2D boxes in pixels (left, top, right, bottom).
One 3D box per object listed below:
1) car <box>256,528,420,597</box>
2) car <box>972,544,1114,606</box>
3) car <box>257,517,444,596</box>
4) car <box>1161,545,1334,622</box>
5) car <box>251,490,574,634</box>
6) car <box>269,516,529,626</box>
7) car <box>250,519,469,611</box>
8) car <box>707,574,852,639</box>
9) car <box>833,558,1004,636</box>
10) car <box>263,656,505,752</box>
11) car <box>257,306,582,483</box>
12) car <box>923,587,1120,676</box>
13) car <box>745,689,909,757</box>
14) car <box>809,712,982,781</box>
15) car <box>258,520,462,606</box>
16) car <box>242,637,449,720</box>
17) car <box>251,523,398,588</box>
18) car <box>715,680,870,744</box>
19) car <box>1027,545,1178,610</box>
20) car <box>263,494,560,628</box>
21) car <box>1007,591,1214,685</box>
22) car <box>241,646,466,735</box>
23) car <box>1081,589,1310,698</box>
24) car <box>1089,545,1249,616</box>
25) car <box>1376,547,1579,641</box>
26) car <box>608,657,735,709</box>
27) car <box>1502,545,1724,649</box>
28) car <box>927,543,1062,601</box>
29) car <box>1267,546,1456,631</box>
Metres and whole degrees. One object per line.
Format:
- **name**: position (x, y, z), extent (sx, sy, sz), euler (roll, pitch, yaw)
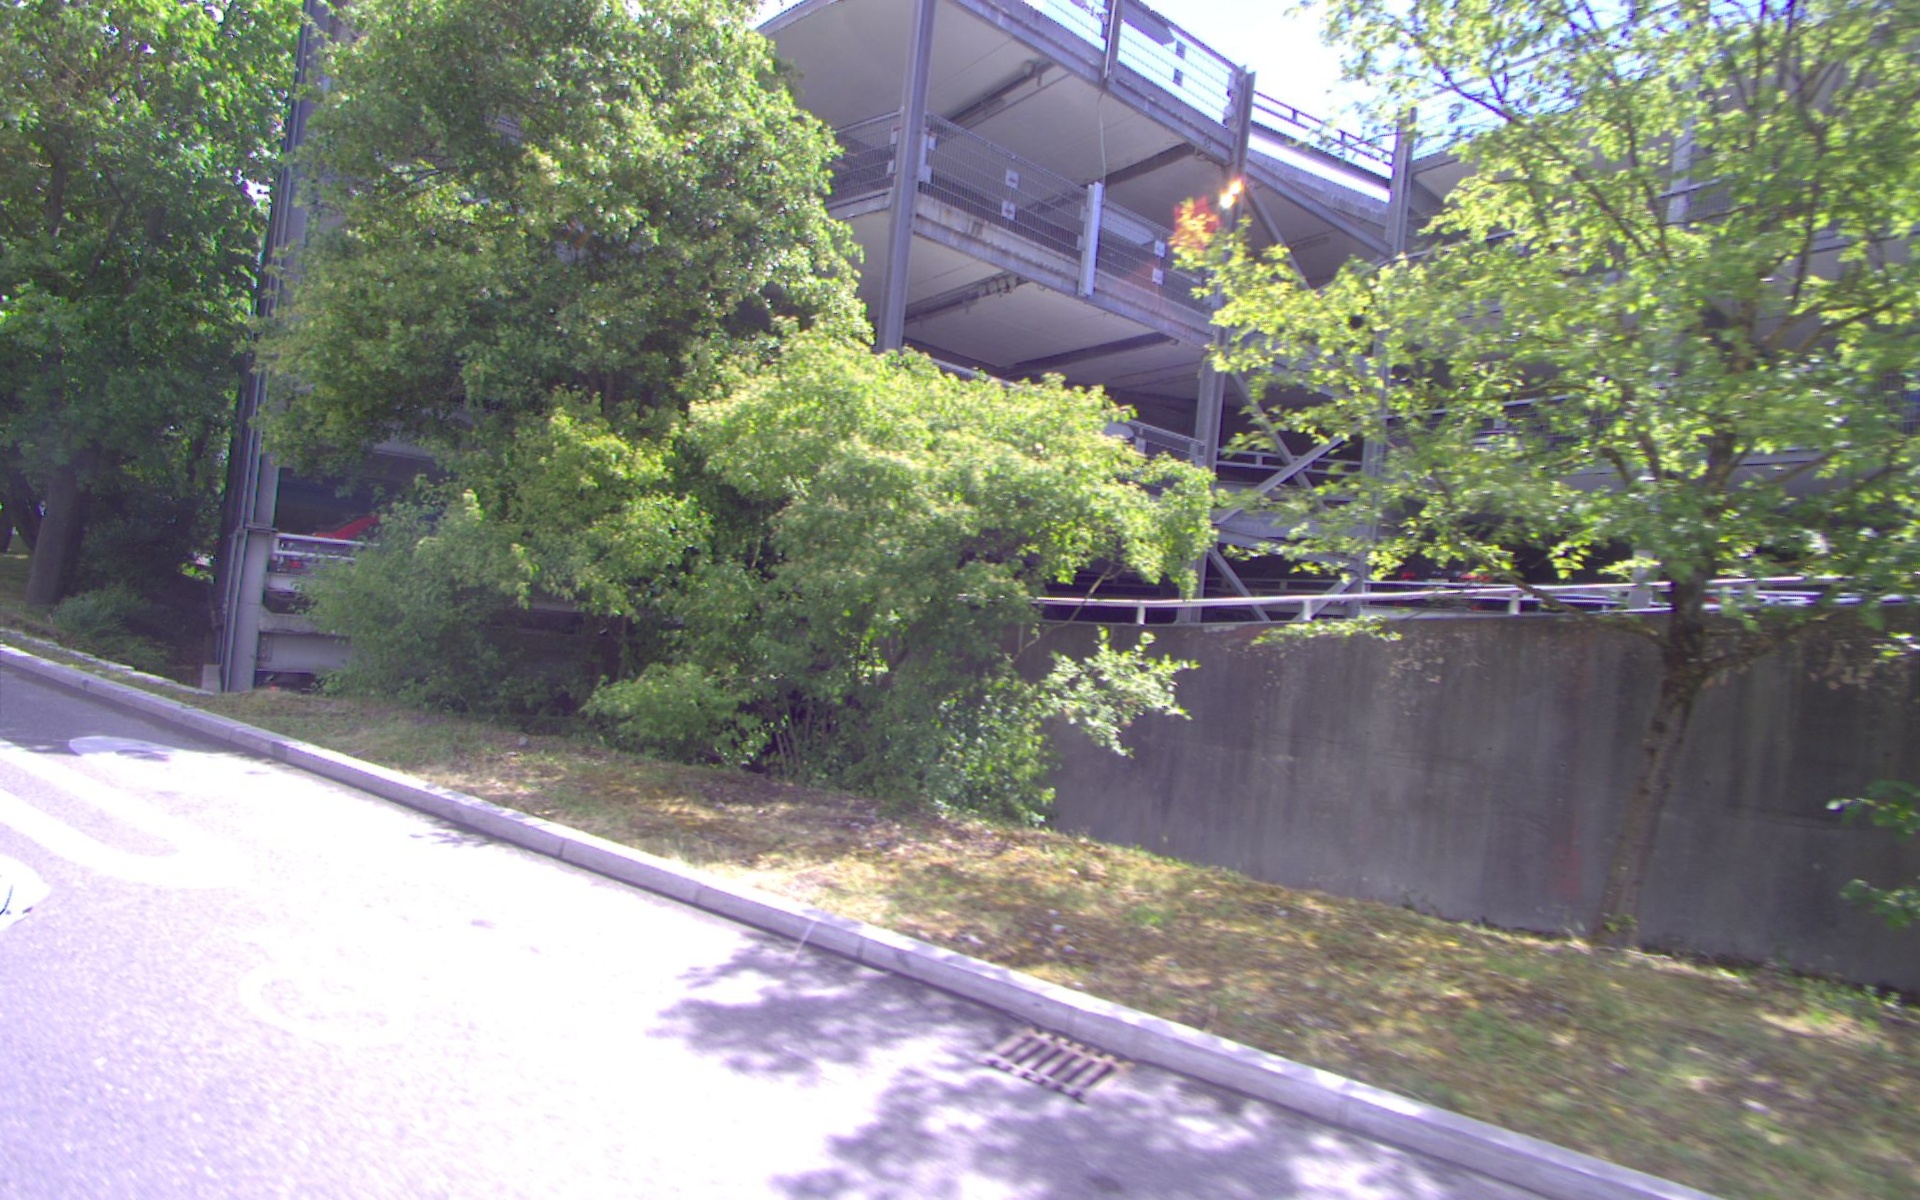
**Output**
- **car**: position (-17.970, -1.066, 29.134), extent (3.826, 1.408, 1.678), euler (8, -2, -37)
- **car**: position (2.406, -0.709, 28.760), extent (3.677, 1.342, 1.816), euler (6, 0, -36)
- **car**: position (-15.480, -1.081, 25.619), extent (3.826, 1.408, 1.678), euler (8, -2, -37)
- **car**: position (6.585, -0.358, 22.958), extent (3.677, 1.342, 1.816), euler (6, 0, -36)
- **car**: position (-7.628, -0.473, 14.170), extent (3.675, 1.428, 1.642), euler (8, -2, -39)
- **car**: position (-10.149, -0.480, 18.297), extent (3.826, 1.408, 1.795), euler (8, -2, -37)
- **car**: position (-12.961, -0.714, 21.797), extent (3.826, 1.408, 1.678), euler (8, -2, -37)
- **car**: position (-5.351, 0.212, 29.966), extent (3.824, 1.504, 1.678), euler (7, -1, -37)
- **car**: position (-0.991, -0.050, 24.881), extent (3.824, 1.504, 1.736), euler (7, -1, -37)
- **car**: position (-11.355, 2.085, 19.937), extent (3.828, 1.470, 1.817), euler (8, -2, -39)
- **car**: position (-7.407, -2.684, 13.916), extent (3.672, 1.429, 1.642), euler (8, 0, -36)
- **car**: position (1.329, 0.676, 20.982), extent (3.824, 1.460, 1.736), euler (7, -1, -37)
- **car**: position (-3.445, 3.230, 26.347), extent (3.824, 1.464, 1.678), euler (7, -1, -37)
- **car**: position (-1.521, 3.538, 24.385), extent (3.824, 1.327, 1.662), euler (7, -1, -37)
- **car**: position (-13.931, -0.831, 23.450), extent (3.826, 1.408, 1.678), euler (8, -2, -37)
- **car**: position (-14.295, 1.854, 23.488), extent (3.828, 1.470, 1.817), euler (8, -2, -39)
- **car**: position (-20.673, -1.419, 32.774), extent (3.826, 1.507, 1.678), euler (8, -2, -37)
- **car**: position (-4.616, 3.132, 27.984), extent (3.824, 1.464, 1.678), euler (7, -1, -37)
- **car**: position (3.842, -0.587, 26.927), extent (3.677, 1.342, 1.816), euler (6, 0, -36)
- **car**: position (-8.740, -0.562, 16.174), extent (3.829, 1.532, 1.817), euler (8, -2, -40)
- **car**: position (2.979, 0.762, 19.578), extent (3.824, 1.442, 1.736), euler (7, -1, -37)
- **car**: position (-12.978, 1.964, 21.622), extent (3.828, 1.470, 1.817), euler (8, -2, -39)
- **car**: position (4.248, 0.804, 17.922), extent (3.899, 1.570, 1.752), euler (6, 0, -36)
- **car**: position (5.216, -0.472, 24.975), extent (3.677, 1.342, 1.816), euler (6, 0, -36)
- **car**: position (9.667, -0.099, 18.734), extent (3.677, 1.342, 1.816), euler (6, 0, -36)
- **car**: position (-9.977, 2.883, 34.909), extent (3.824, 1.464, 1.678), euler (7, -1, -37)
- **car**: position (10.974, -0.036, 16.852), extent (3.677, 1.342, 1.816), euler (6, 0, -36)
- **car**: position (1.060, -0.824, 30.414), extent (3.677, 1.342, 1.816), euler (6, 0, -36)
- **car**: position (8.233, -0.221, 20.571), extent (3.677, 1.342, 1.816), euler (6, 0, -36)
